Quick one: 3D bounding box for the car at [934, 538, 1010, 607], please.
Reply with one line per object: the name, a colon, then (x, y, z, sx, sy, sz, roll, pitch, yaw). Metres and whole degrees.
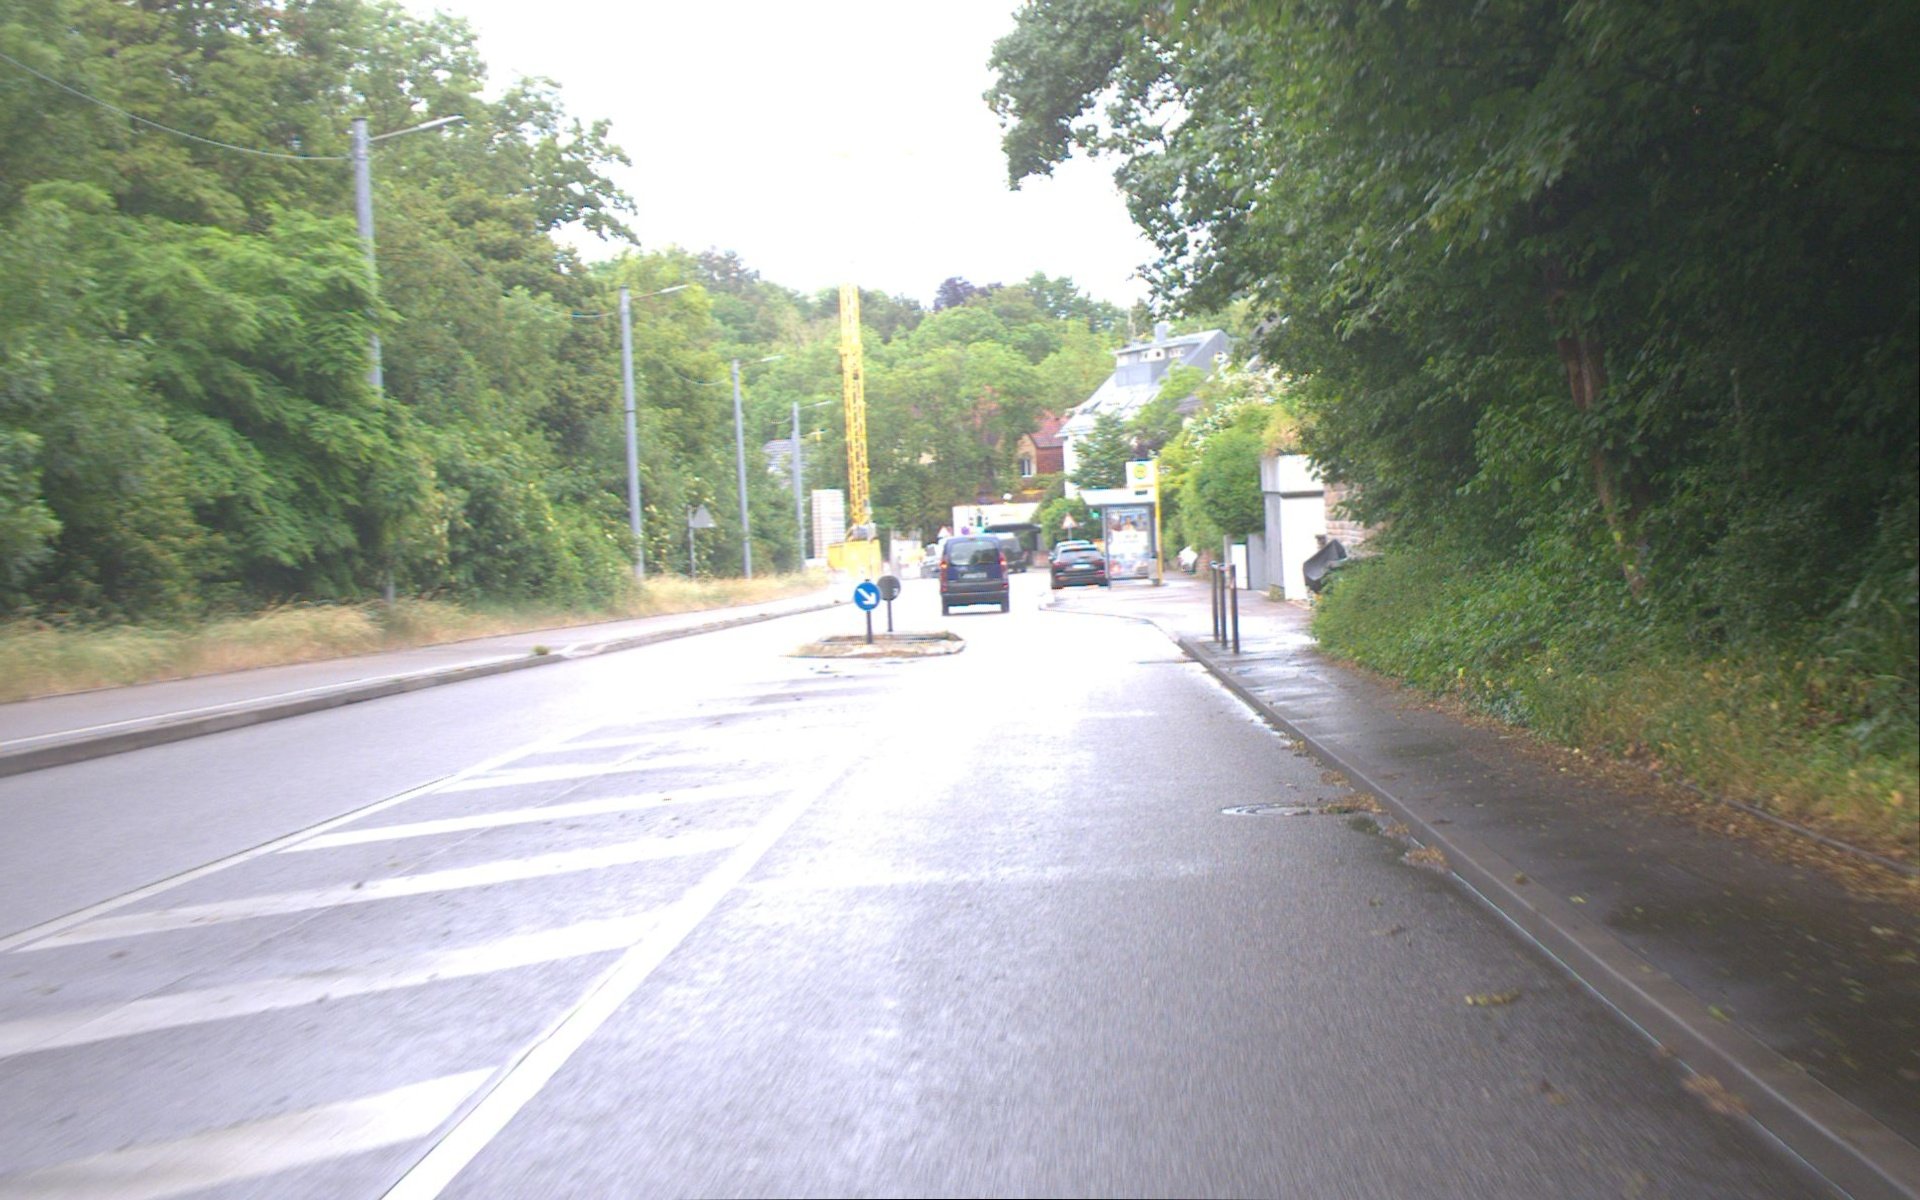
car: (0.303, -0.657, 81.472, 1.668, 1.588, 3.682, -1, 1, 2)

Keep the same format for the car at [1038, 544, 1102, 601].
car: (3.538, -0.890, 109.693, 1.994, 1.766, 4.114, 0, 1, 2)

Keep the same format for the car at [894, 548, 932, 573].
car: (-3.016, -2.536, 220.050, 1.739, 1.547, 3.857, 0, 0, -12)

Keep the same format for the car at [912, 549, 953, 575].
car: (-1.728, -2.358, 214.779, 1.739, 1.546, 3.857, -2, 1, -12)

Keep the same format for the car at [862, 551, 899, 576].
car: (-5.264, -2.411, 227.040, 1.739, 1.546, 3.857, -2, 1, -12)
